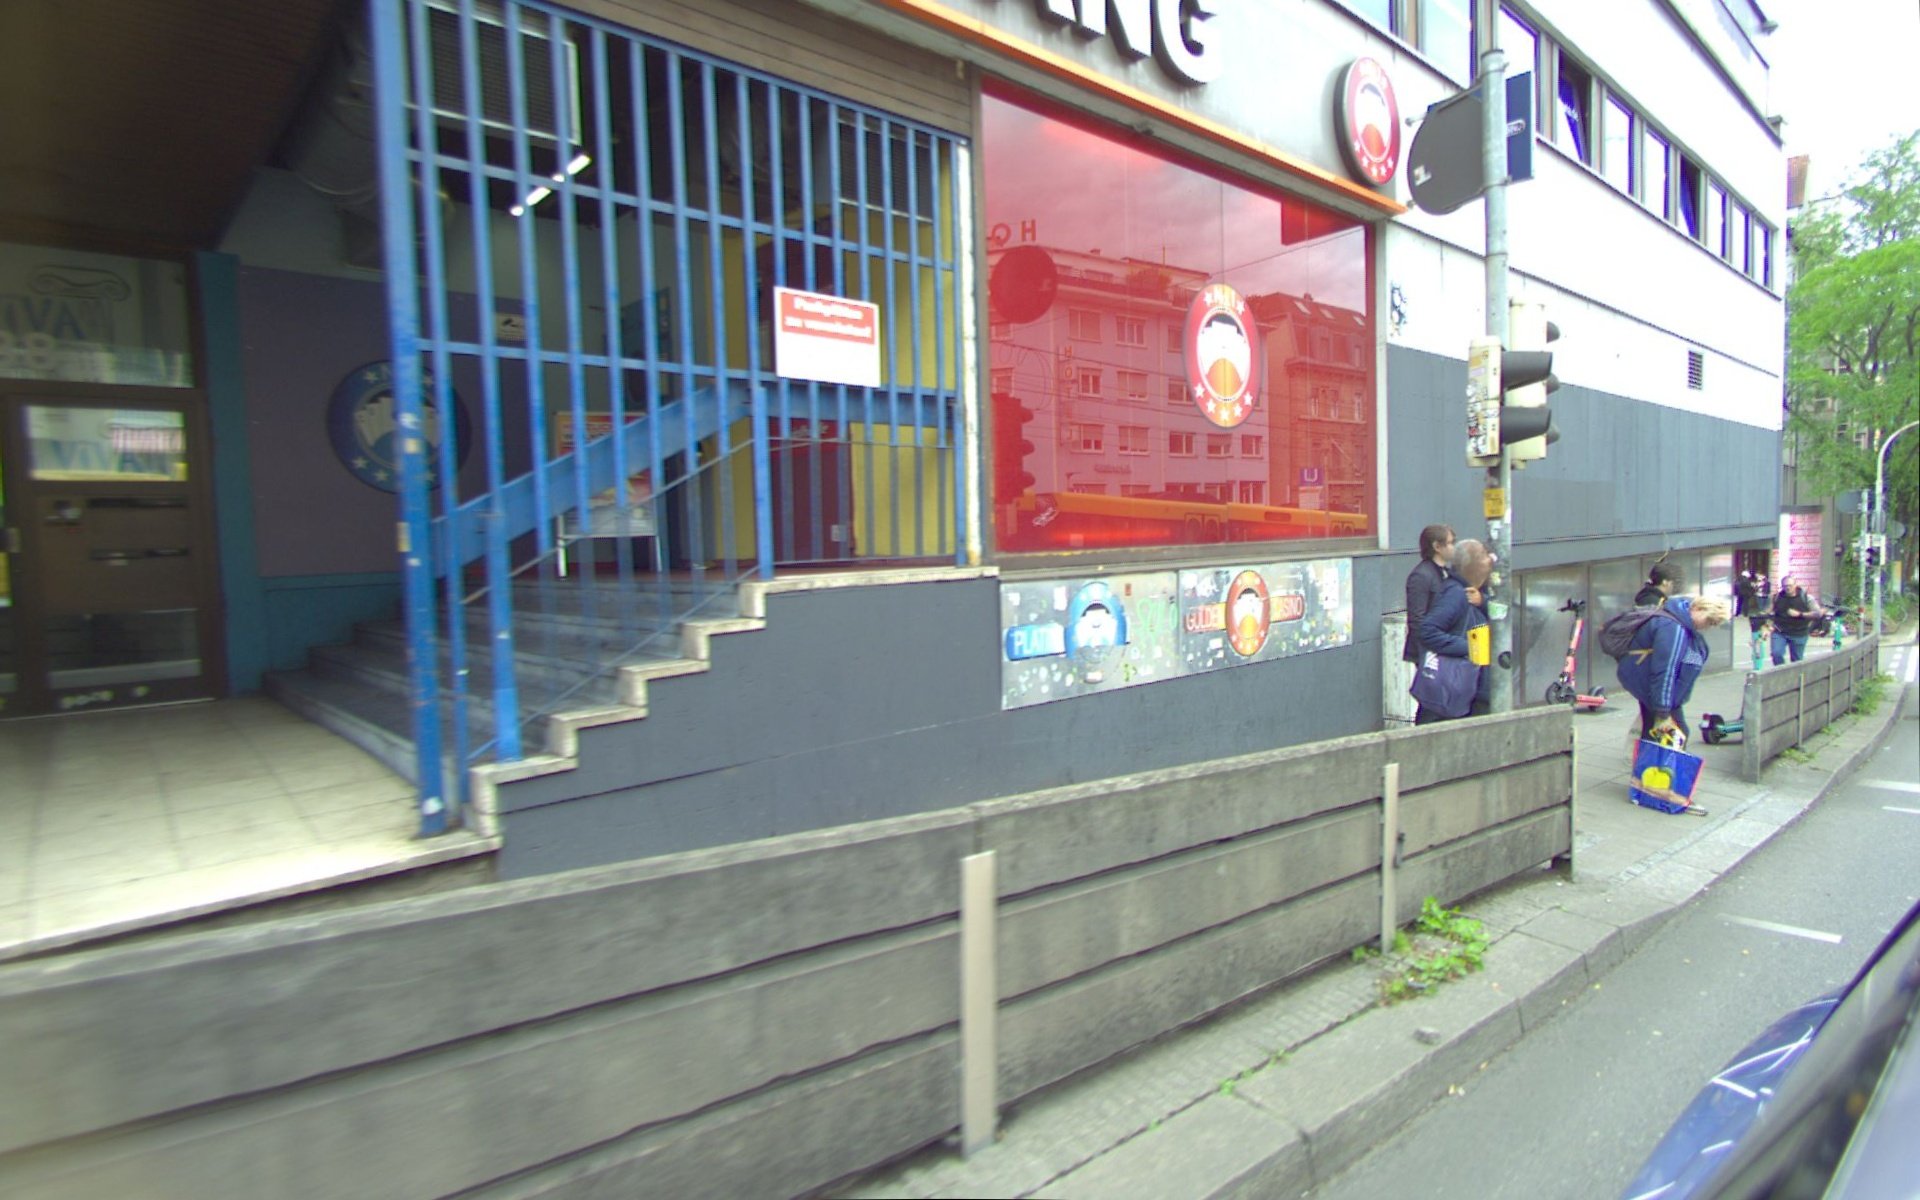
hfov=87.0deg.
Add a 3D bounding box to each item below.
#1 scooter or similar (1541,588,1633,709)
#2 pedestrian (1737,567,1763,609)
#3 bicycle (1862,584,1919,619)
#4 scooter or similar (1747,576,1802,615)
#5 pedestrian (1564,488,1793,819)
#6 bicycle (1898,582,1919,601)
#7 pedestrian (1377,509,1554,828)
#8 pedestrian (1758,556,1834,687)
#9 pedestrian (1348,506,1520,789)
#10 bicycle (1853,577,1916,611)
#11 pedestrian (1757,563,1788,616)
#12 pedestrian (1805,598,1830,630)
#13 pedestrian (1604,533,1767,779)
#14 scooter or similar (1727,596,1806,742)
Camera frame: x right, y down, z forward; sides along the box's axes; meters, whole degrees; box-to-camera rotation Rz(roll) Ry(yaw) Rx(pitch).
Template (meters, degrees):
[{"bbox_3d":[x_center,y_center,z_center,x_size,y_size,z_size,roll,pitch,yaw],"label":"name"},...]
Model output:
[{"bbox_3d":[7.058,0.522,11.390,0.961,1.291,0.429,0,3,-31],"label":"scooter or similar"},{"bbox_3d":[29.290,-0.436,37.534,0.652,1.542,0.624,-1,0,-39],"label":"pedestrian"},{"bbox_3d":[33.850,0.043,36.643,1.739,1.237,0.534,2,2,41],"label":"bicycle"},{"bbox_3d":[28.269,-0.161,35.134,0.618,1.269,1.394,-1,3,-10],"label":"scooter or similar"},{"bbox_3d":[4.958,0.308,7.016,0.765,2.086,0.949,-1,7,-41],"label":"pedestrian"},{"bbox_3d":[56.235,-0.509,59.075,2.082,1.099,0.703,-2,0,38],"label":"bicycle"},{"bbox_3d":[2.852,0.350,5.730,0.581,1.670,0.563,0,7,-42],"label":"pedestrian"},{"bbox_3d":[12.044,0.288,14.574,0.869,1.808,0.721,-1,0,-43],"label":"pedestrian"},{"bbox_3d":[3.312,0.289,7.096,0.643,1.828,0.729,-1,7,-41],"label":"pedestrian"},{"bbox_3d":[34.247,-0.245,37.502,1.685,1.237,0.534,1,1,41],"label":"bicycle"},{"bbox_3d":[29.745,-0.378,37.039,0.864,1.913,0.706,-1,0,-39],"label":"pedestrian"},{"bbox_3d":[25.661,0.412,30.285,0.573,0.922,0.484,0,1,-42],"label":"pedestrian"},{"bbox_3d":[5.781,0.406,8.076,0.643,1.813,0.740,-1,7,-41],"label":"pedestrian"},{"bbox_3d":[7.635,0.631,9.578,0.800,1.291,0.354,1,5,-43],"label":"scooter or similar"}]
